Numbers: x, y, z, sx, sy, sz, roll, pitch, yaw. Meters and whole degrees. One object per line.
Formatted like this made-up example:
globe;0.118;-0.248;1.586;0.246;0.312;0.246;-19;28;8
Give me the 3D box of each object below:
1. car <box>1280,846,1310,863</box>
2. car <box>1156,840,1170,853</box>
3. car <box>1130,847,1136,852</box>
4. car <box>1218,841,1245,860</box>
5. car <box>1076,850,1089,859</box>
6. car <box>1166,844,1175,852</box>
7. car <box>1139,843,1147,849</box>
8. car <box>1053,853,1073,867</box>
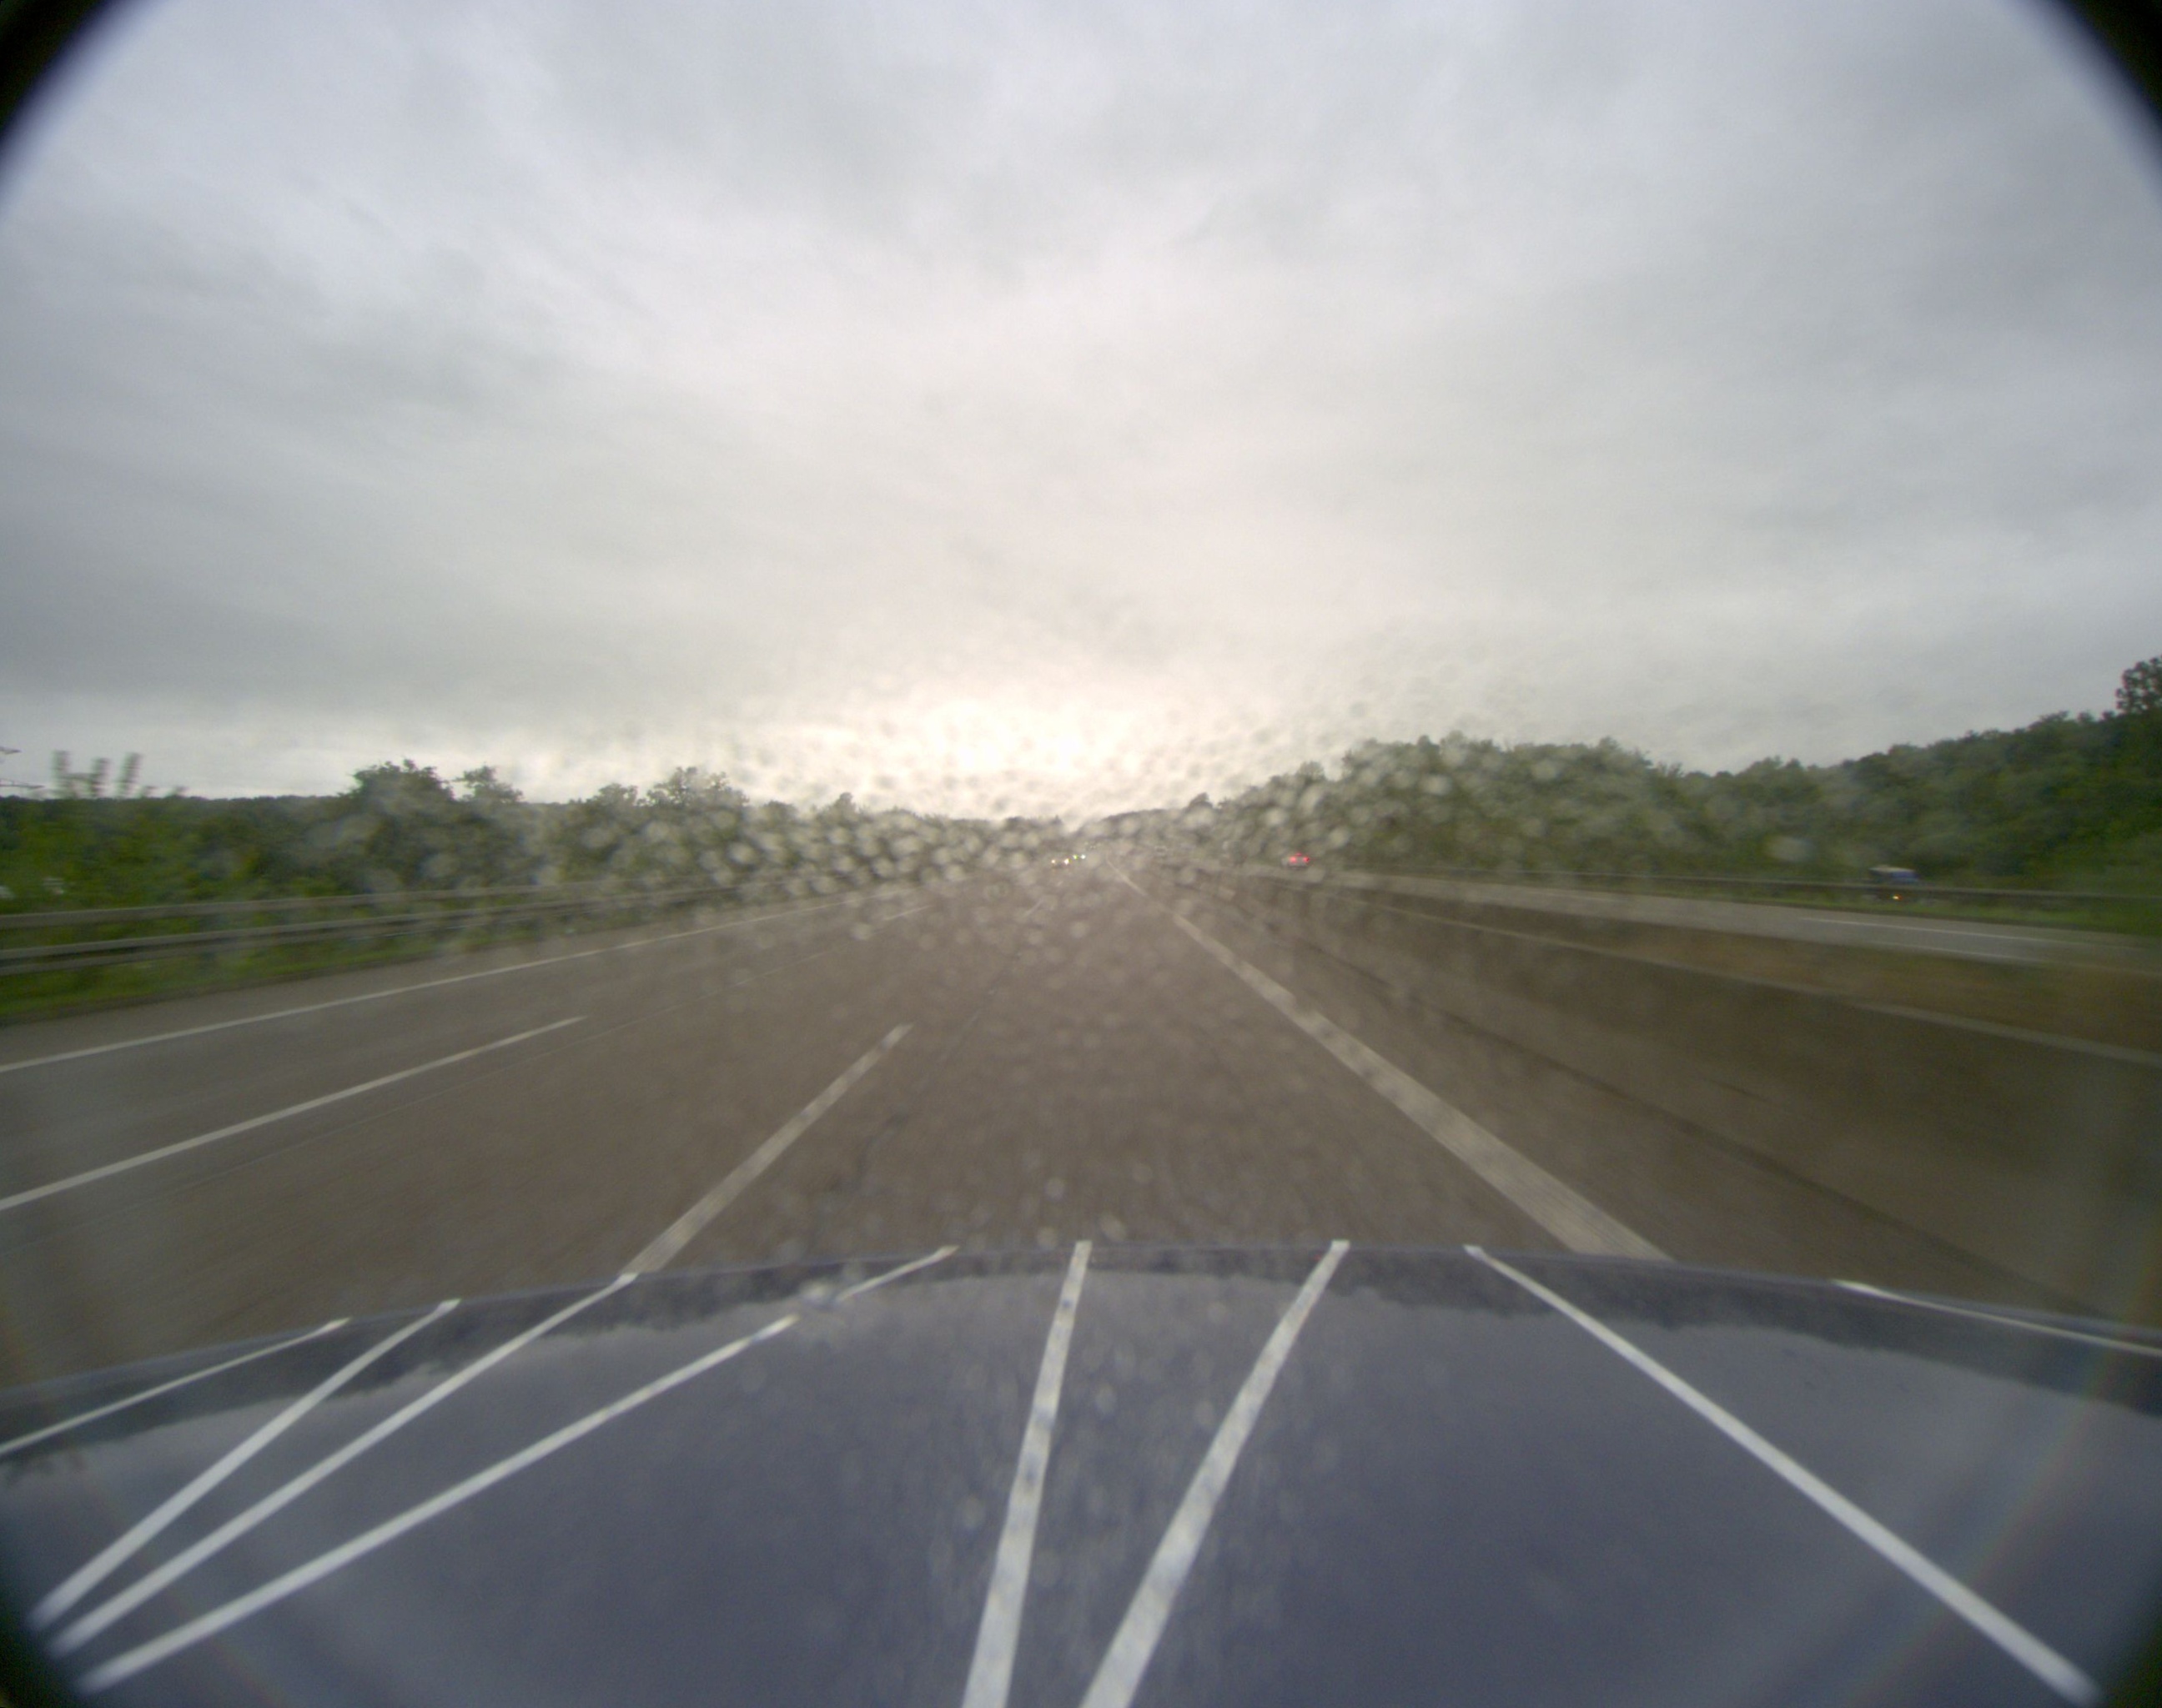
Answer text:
car;20.581;0.015;73.211;1.719;1.576;4.145;-1;1;1
car;15.536;-1.357;144.498;2.282;2.317;6.175;0;0;2
car;14.111;-1.313;206.649;1.638;1.404;4.367;-1;1;2
car;17.354;-0.450;87.939;1.998;2.155;6.416;-1;1;1
car;0.293;0.064;137.365;2.009;1.456;4.000;0;1;4
car;20.202;-1.350;171.677;1.746;1.893;4.530;0;1;1
car;17.798;-2.357;218.728;1.998;1.678;4.916;0;1;1
car;-1.869;0.628;80.990;1.932;1.521;4.298;0;0;2
